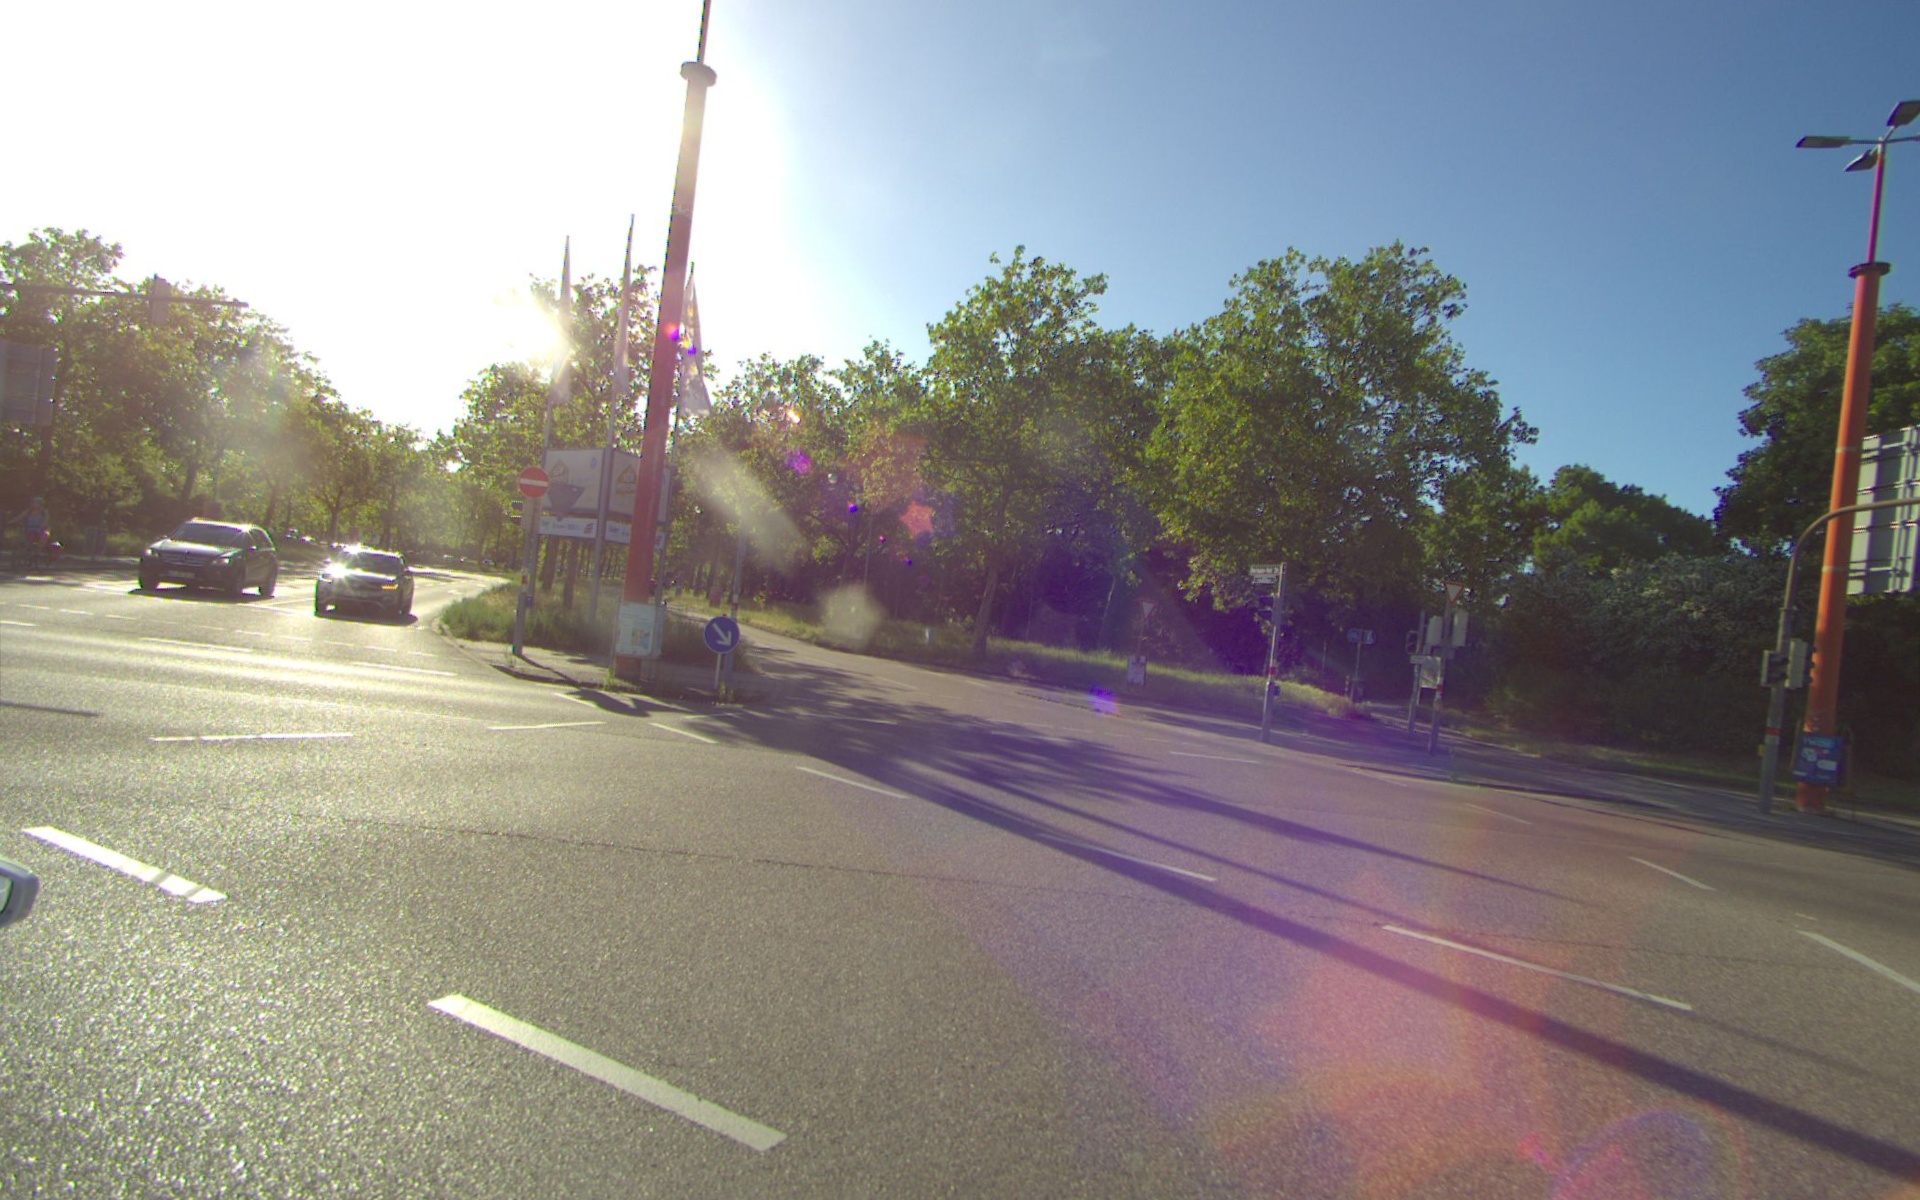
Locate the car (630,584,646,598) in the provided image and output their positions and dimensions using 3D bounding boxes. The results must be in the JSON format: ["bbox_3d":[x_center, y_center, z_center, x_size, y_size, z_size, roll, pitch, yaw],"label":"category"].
[{"bbox_3d":[-45.896,-1.250,143.319,1.852,1.645,3.986,9,-3,-19],"label":"car"}]

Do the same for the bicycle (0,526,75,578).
[{"bbox_3d":[-21.841,-1.111,23.558,0.754,1.105,2.009,7,0,-15],"label":"bicycle"}]

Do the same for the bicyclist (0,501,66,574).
[{"bbox_3d":[-21.818,-1.457,23.634,0.749,1.577,0.978,6,0,-15],"label":"bicyclist"}]

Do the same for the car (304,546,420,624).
[{"bbox_3d":[-14.601,-0.376,24.780,1.750,1.557,4.070,8,-1,-23],"label":"car"}]

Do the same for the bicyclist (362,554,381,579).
[{"bbox_3d":[-37.474,-2.142,64.105,0.726,1.454,0.962,7,0,-18],"label":"bicyclist"}]

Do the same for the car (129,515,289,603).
[{"bbox_3d":[-18.580,-0.964,25.143,1.883,1.747,4.631,7,-1,-22],"label":"car"}]

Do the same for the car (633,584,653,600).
[{"bbox_3d":[-35.334,-0.917,112.186,1.771,1.404,4.032,8,-2,-20],"label":"car"}]
